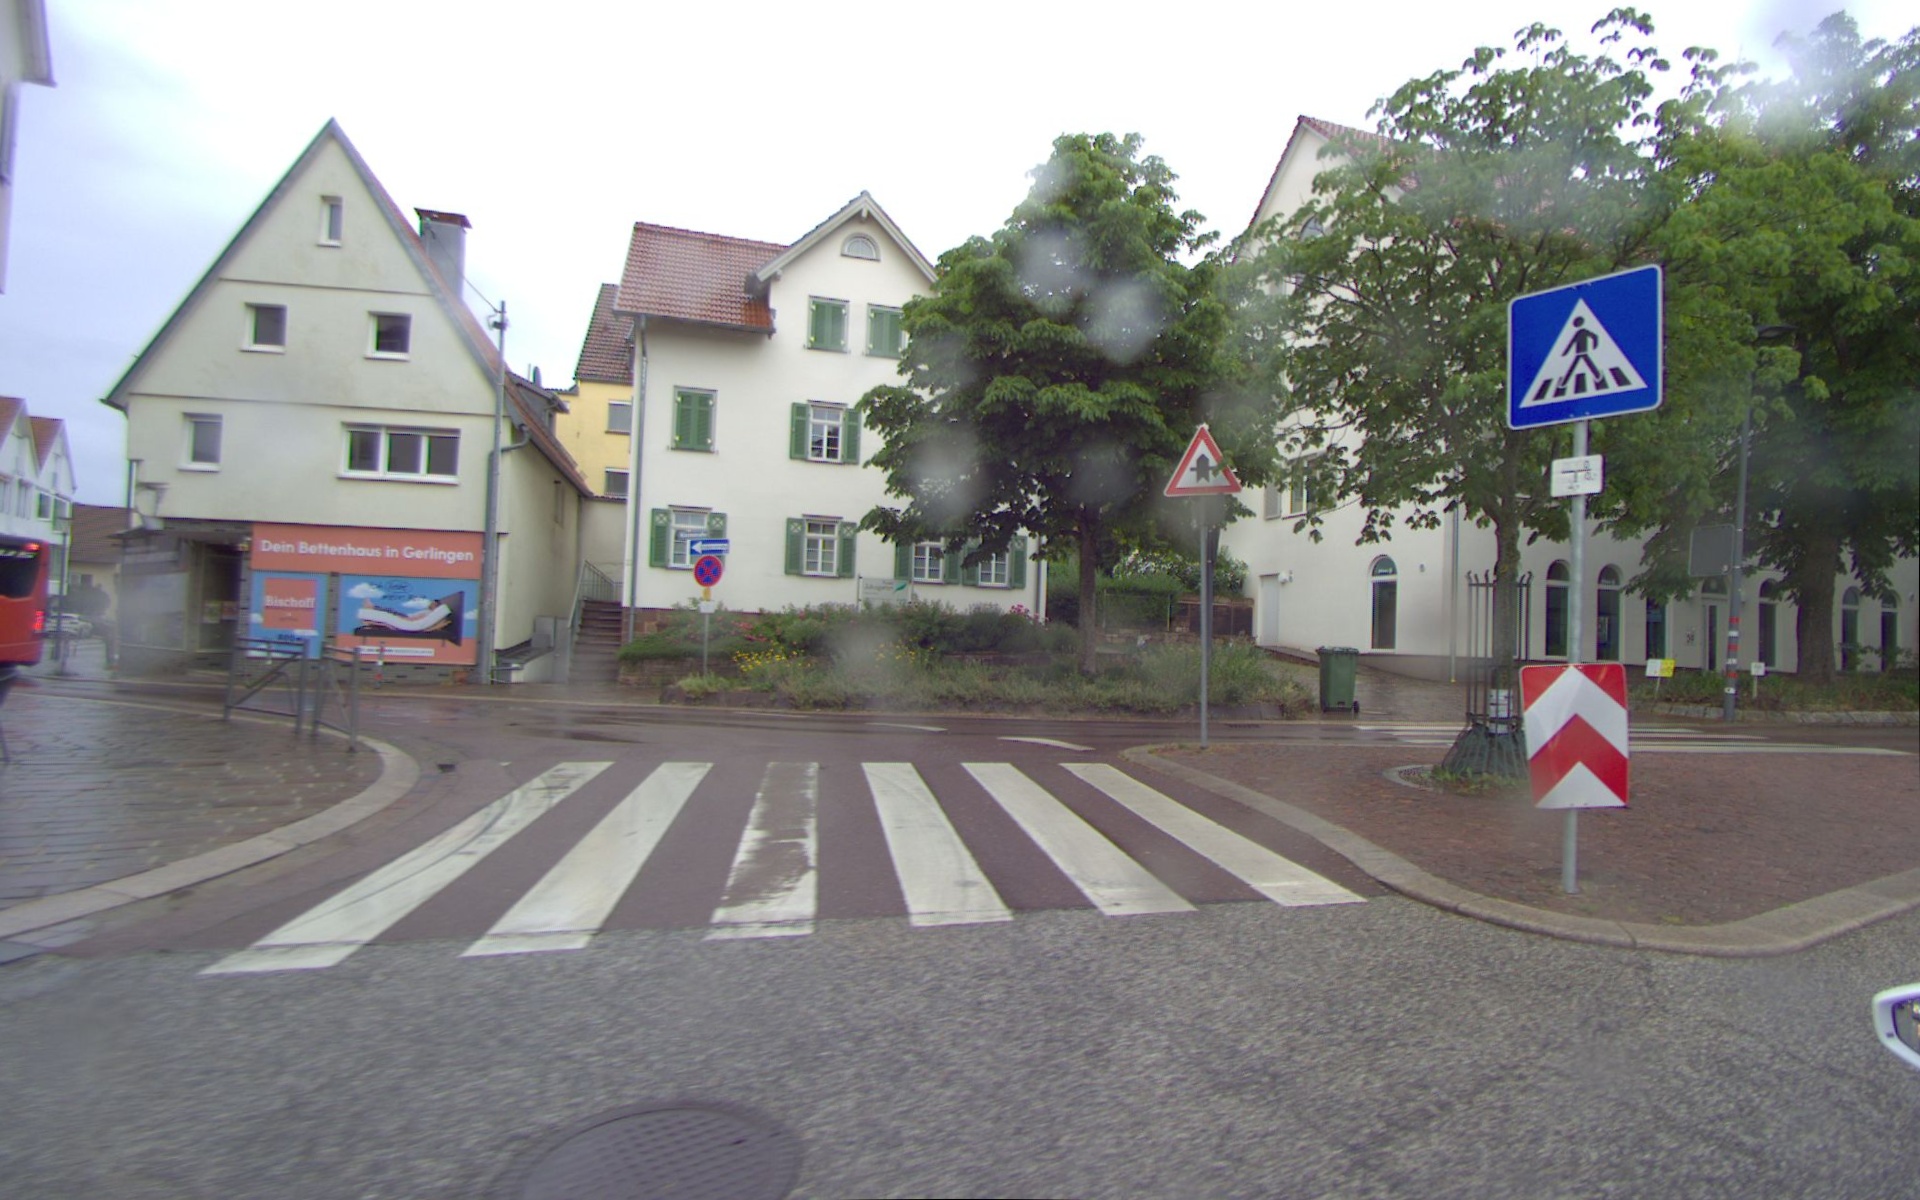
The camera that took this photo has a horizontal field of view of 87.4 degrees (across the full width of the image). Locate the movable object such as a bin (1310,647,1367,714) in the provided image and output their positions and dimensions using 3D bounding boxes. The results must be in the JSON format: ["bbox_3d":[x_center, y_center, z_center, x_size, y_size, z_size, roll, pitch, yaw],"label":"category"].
[{"bbox_3d":[6.305,1.336,16.743,0.684,1.072,0.636,1,-3,-3],"label":"movable object such as a bin"}]

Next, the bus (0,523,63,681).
[{"bbox_3d":[-24.418,0.153,24.173,10.462,3.300,2.838,-2,-4,41],"label":"bus"}]
